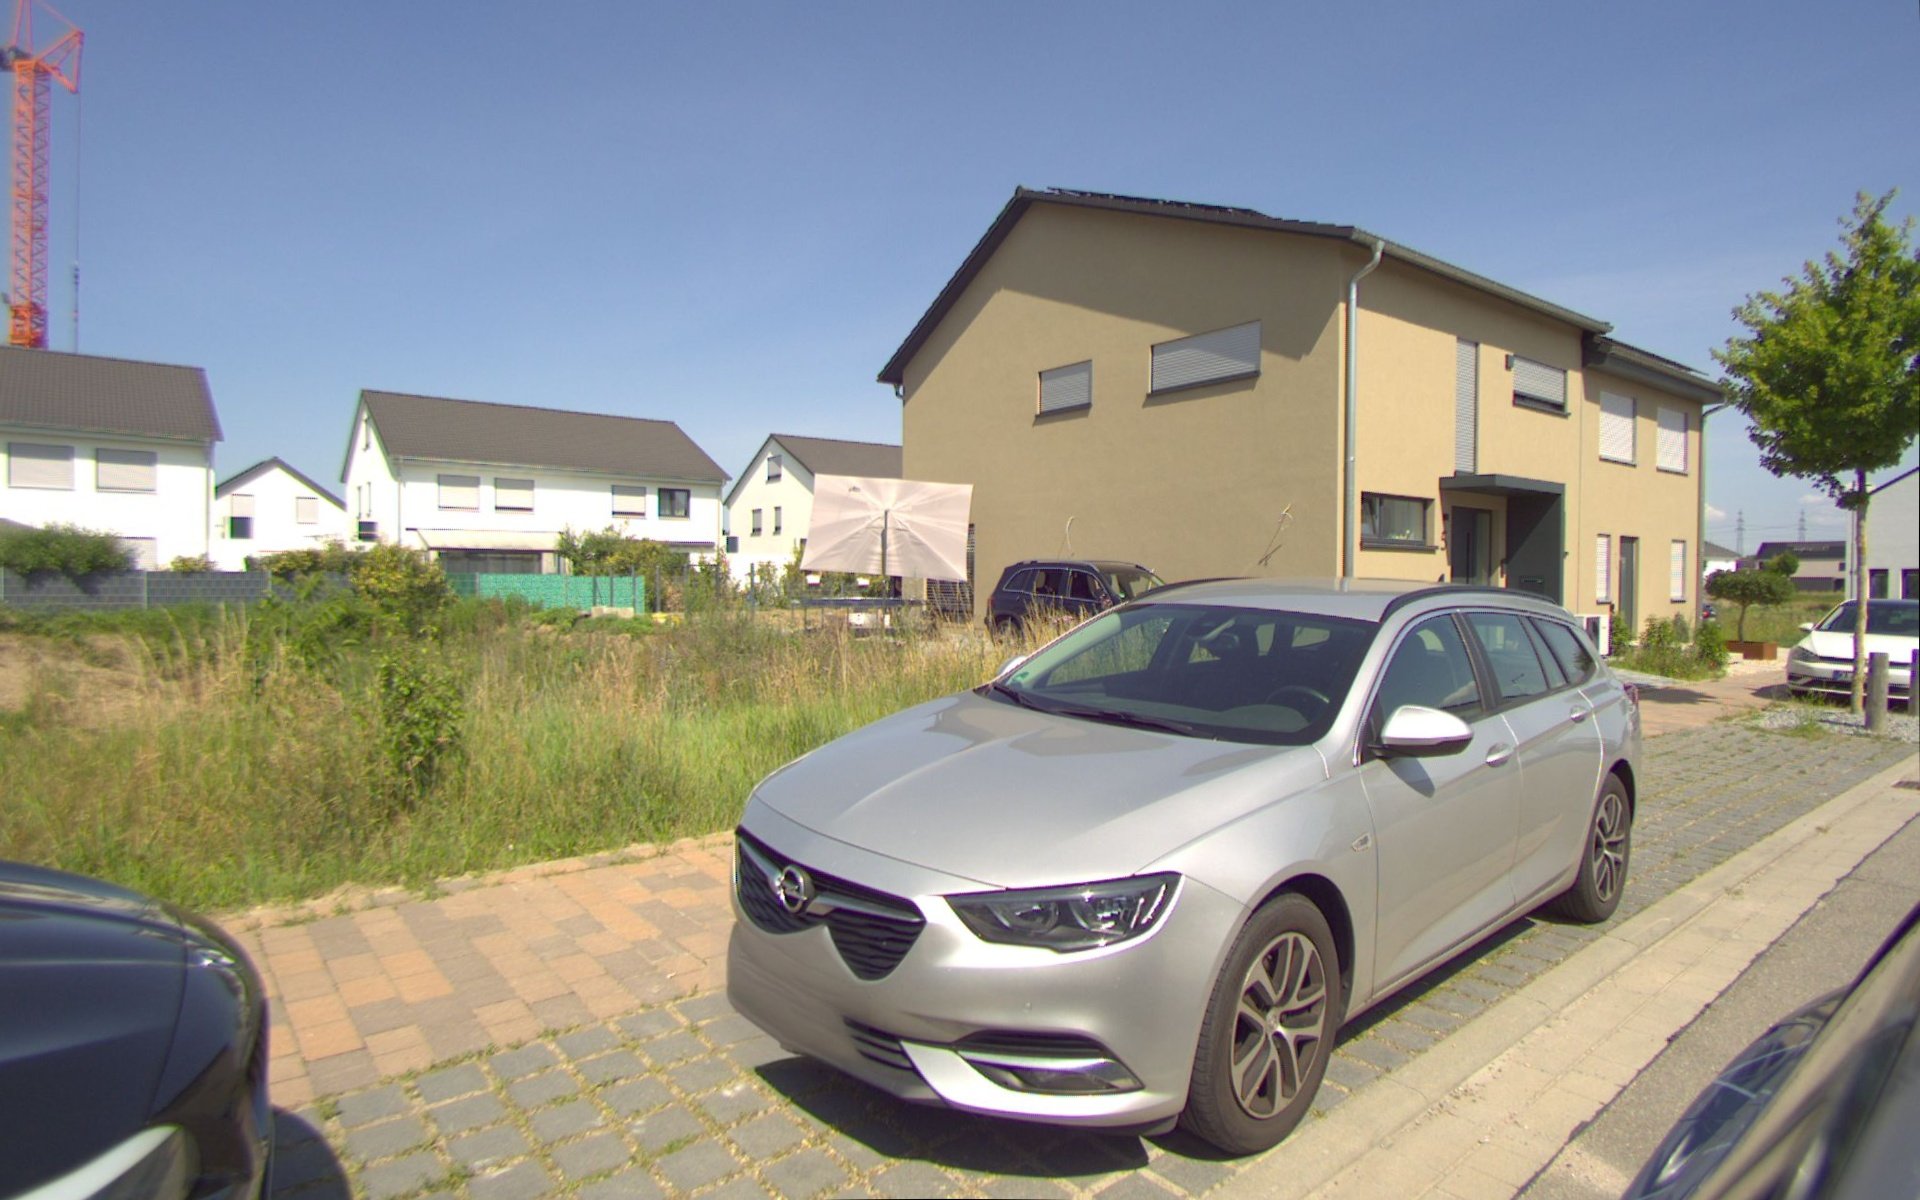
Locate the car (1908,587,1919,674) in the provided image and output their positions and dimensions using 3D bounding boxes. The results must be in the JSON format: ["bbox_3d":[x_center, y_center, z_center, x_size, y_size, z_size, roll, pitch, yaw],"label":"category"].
[{"bbox_3d":[18.546,0.531,17.882,4.479,1.473,1.820,-1,3,-37],"label":"car"}]

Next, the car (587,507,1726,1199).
[{"bbox_3d":[1.376,0.550,4.280,5.202,1.530,1.922,0,2,-41],"label":"car"}]

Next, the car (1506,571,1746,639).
[{"bbox_3d":[17.492,0.050,26.848,1.962,1.443,4.907,0,4,-34],"label":"car"}]

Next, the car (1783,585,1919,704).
[{"bbox_3d":[13.442,0.559,14.341,4.431,1.443,1.785,0,2,-38],"label":"car"}]

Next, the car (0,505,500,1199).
[{"bbox_3d":[-3.105,0.612,0.344,5.048,1.488,1.923,0,2,-40],"label":"car"}]

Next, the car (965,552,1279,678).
[{"bbox_3d":[2.336,0.082,15.799,1.964,1.664,4.757,-2,3,-39],"label":"car"}]
